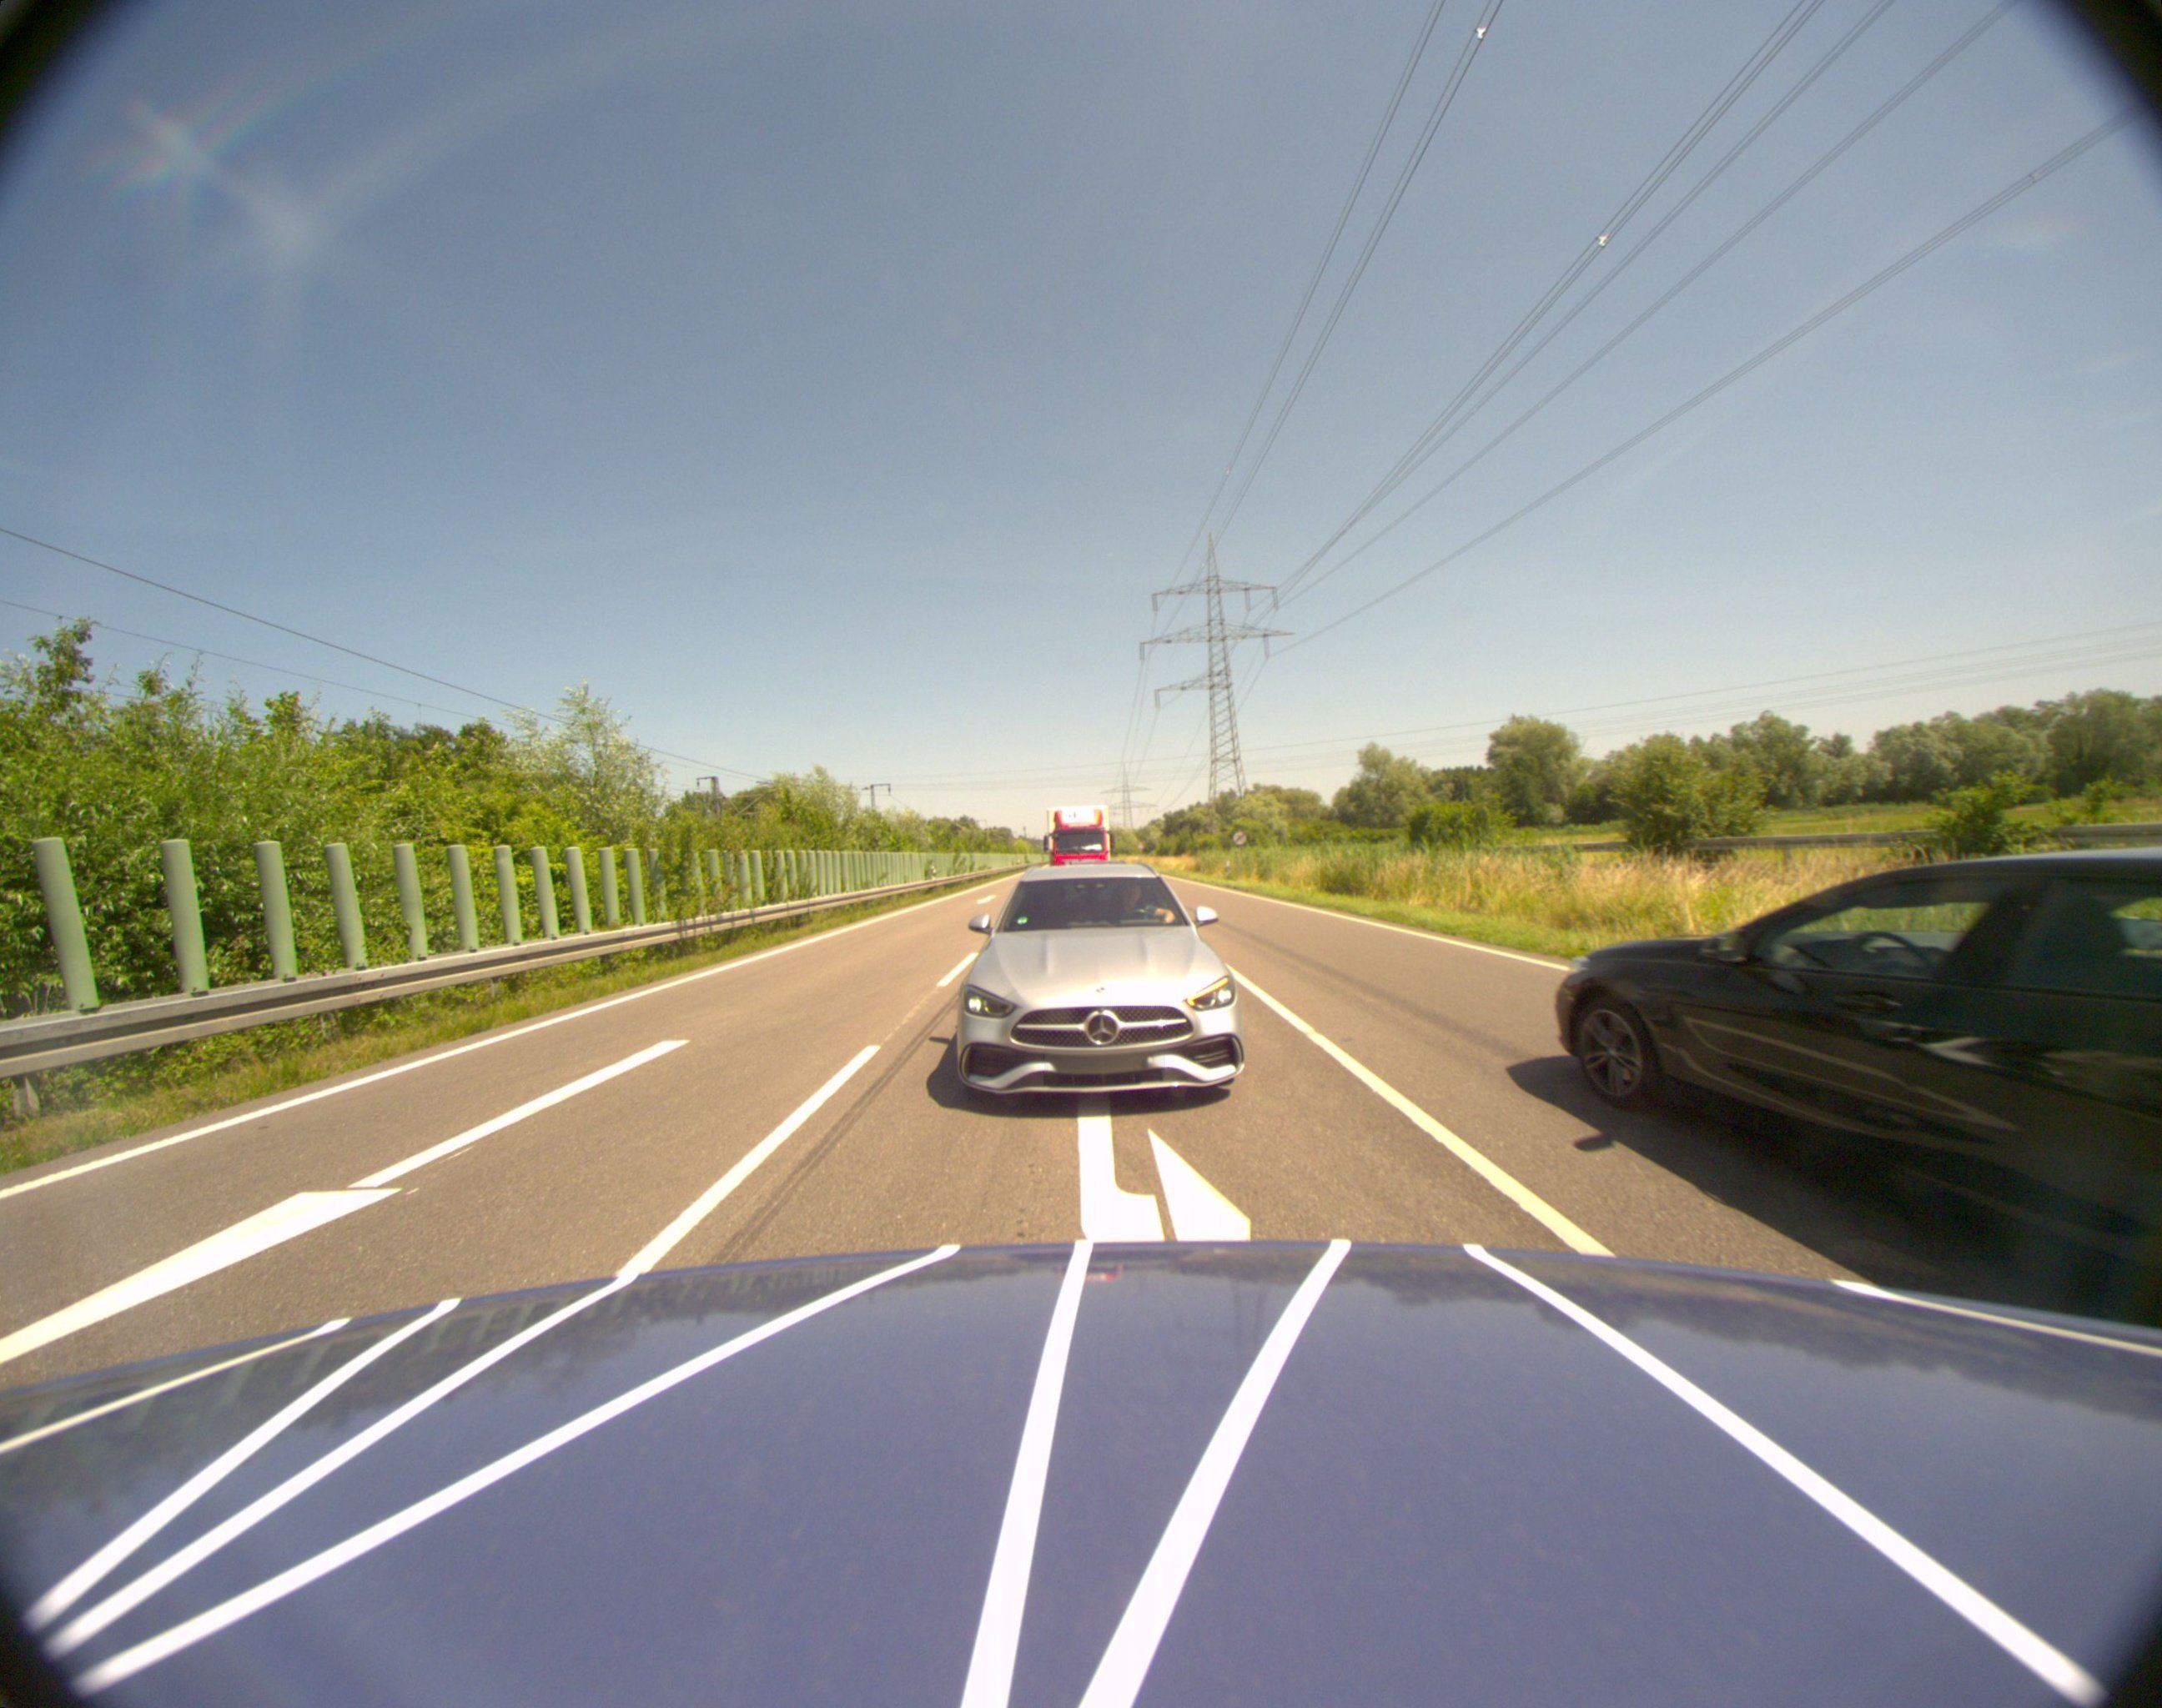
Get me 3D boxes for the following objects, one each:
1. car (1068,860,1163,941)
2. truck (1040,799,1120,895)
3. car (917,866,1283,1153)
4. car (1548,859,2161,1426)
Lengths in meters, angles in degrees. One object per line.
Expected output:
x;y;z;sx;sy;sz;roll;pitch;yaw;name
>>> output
0.682;0.873;16.195;1.698;1.385;4.467;-2;0;1;car
-0.038;-0.288;33.650;2.907;3.641;7.155;-4;0;0;truck
0.123;0.909;6.470;1.998;1.437;4.467;-2;0;0;car
3.776;0.785;2.662;1.786;1.455;3.999;-1;0;0;car
